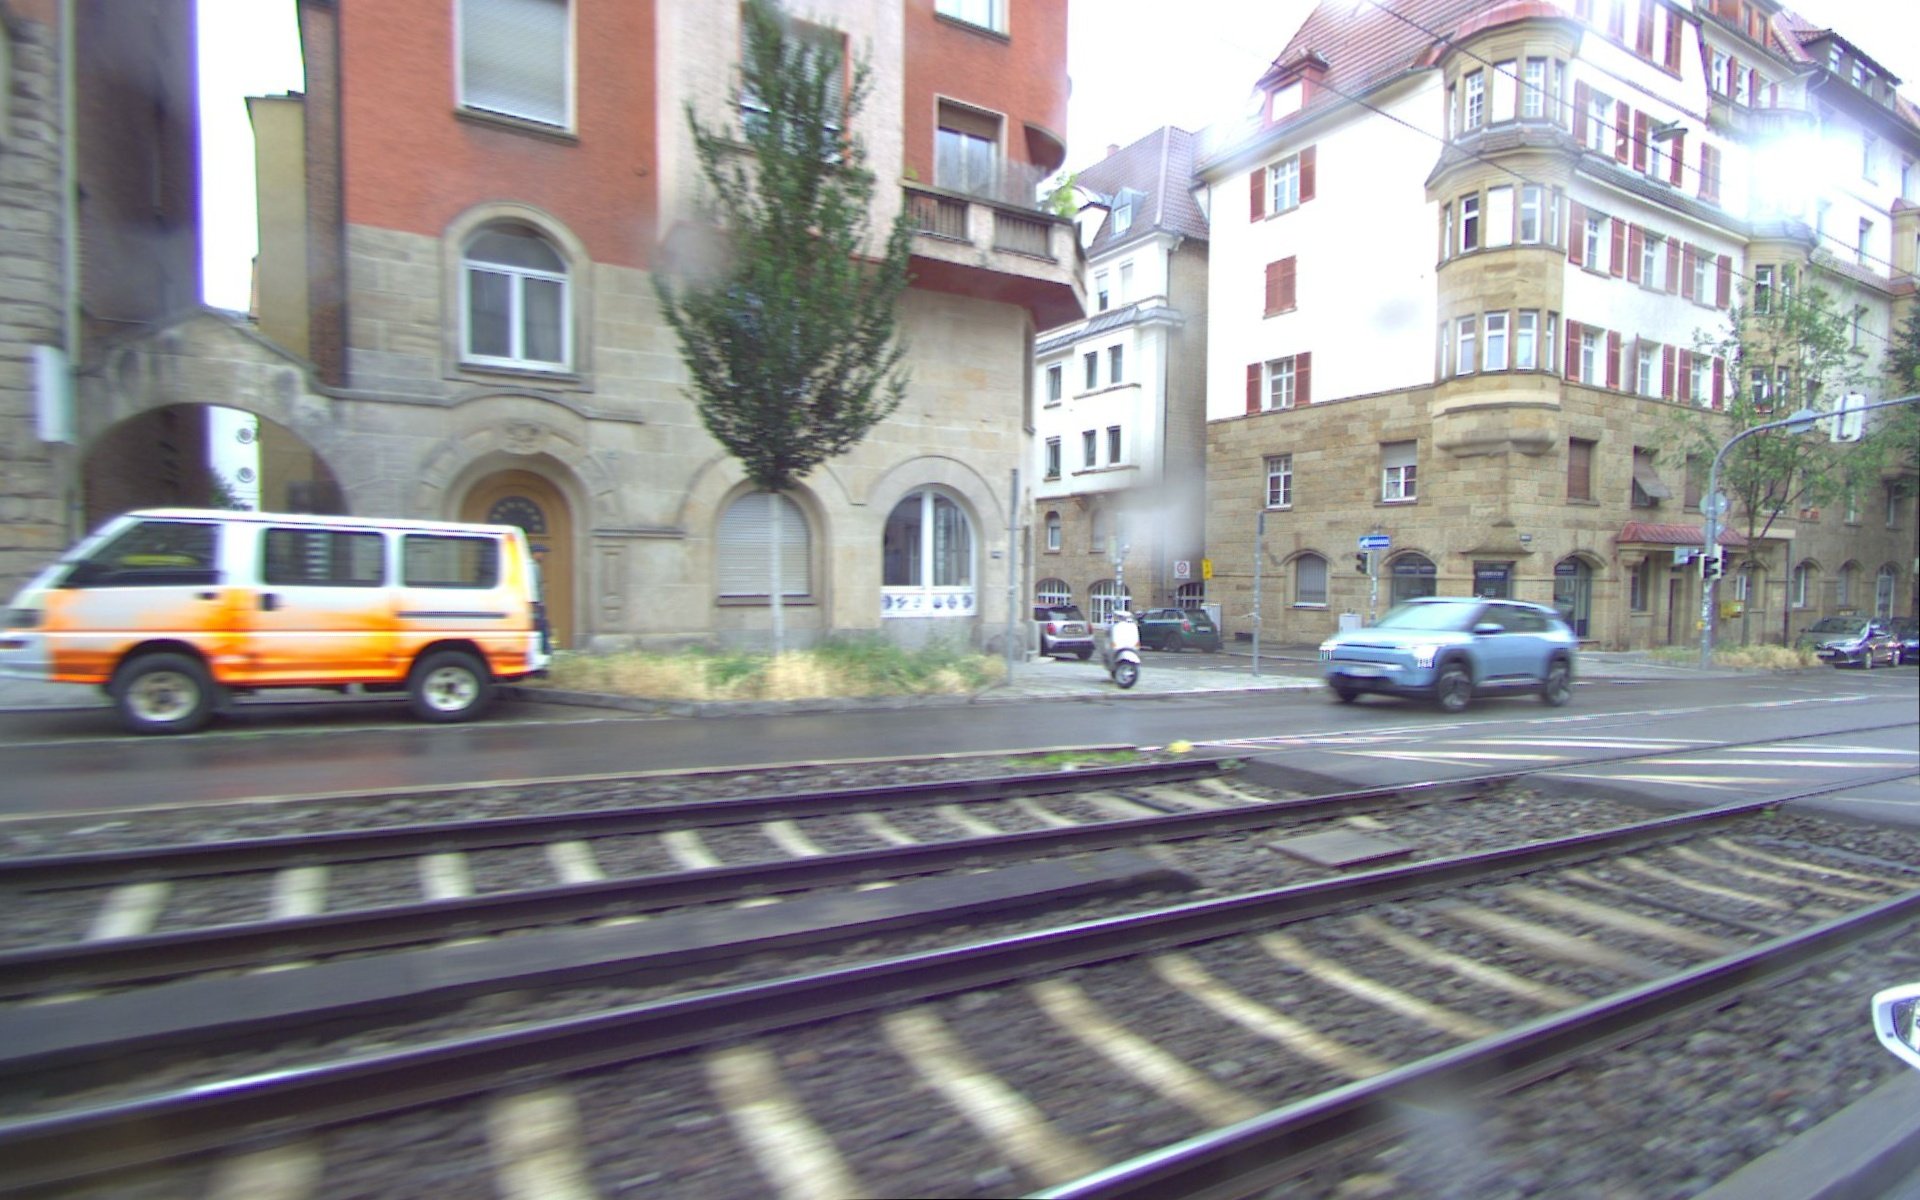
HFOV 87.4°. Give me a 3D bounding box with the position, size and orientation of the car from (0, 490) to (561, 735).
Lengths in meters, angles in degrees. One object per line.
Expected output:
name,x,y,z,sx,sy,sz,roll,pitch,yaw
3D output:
car,-6.425,0.147,9.818,4.427,1.956,1.719,2,0,-32

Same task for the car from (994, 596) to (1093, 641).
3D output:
car,3.237,0.709,39.512,1.976,1.595,3.968,2,0,-30

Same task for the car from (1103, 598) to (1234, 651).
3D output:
car,6.768,0.778,32.983,1.979,1.595,3.963,2,0,-33

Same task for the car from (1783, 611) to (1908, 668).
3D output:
car,26.360,1.168,29.861,4.130,1.549,1.680,2,0,-32

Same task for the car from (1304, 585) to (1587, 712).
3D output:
car,7.242,0.681,14.901,4.084,1.639,1.910,2,0,-32

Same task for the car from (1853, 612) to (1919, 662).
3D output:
car,31.083,1.217,32.664,4.924,1.479,1.771,2,0,-32

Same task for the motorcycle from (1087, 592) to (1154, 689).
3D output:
motorcycle,2.443,0.592,15.453,0.752,1.393,1.785,2,0,2

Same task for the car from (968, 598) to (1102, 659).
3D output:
car,1.963,0.740,27.541,1.726,1.486,3.968,2,0,-30

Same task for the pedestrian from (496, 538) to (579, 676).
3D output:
pedestrian,-5.643,0.087,13.398,0.882,1.743,0.713,2,6,-30
